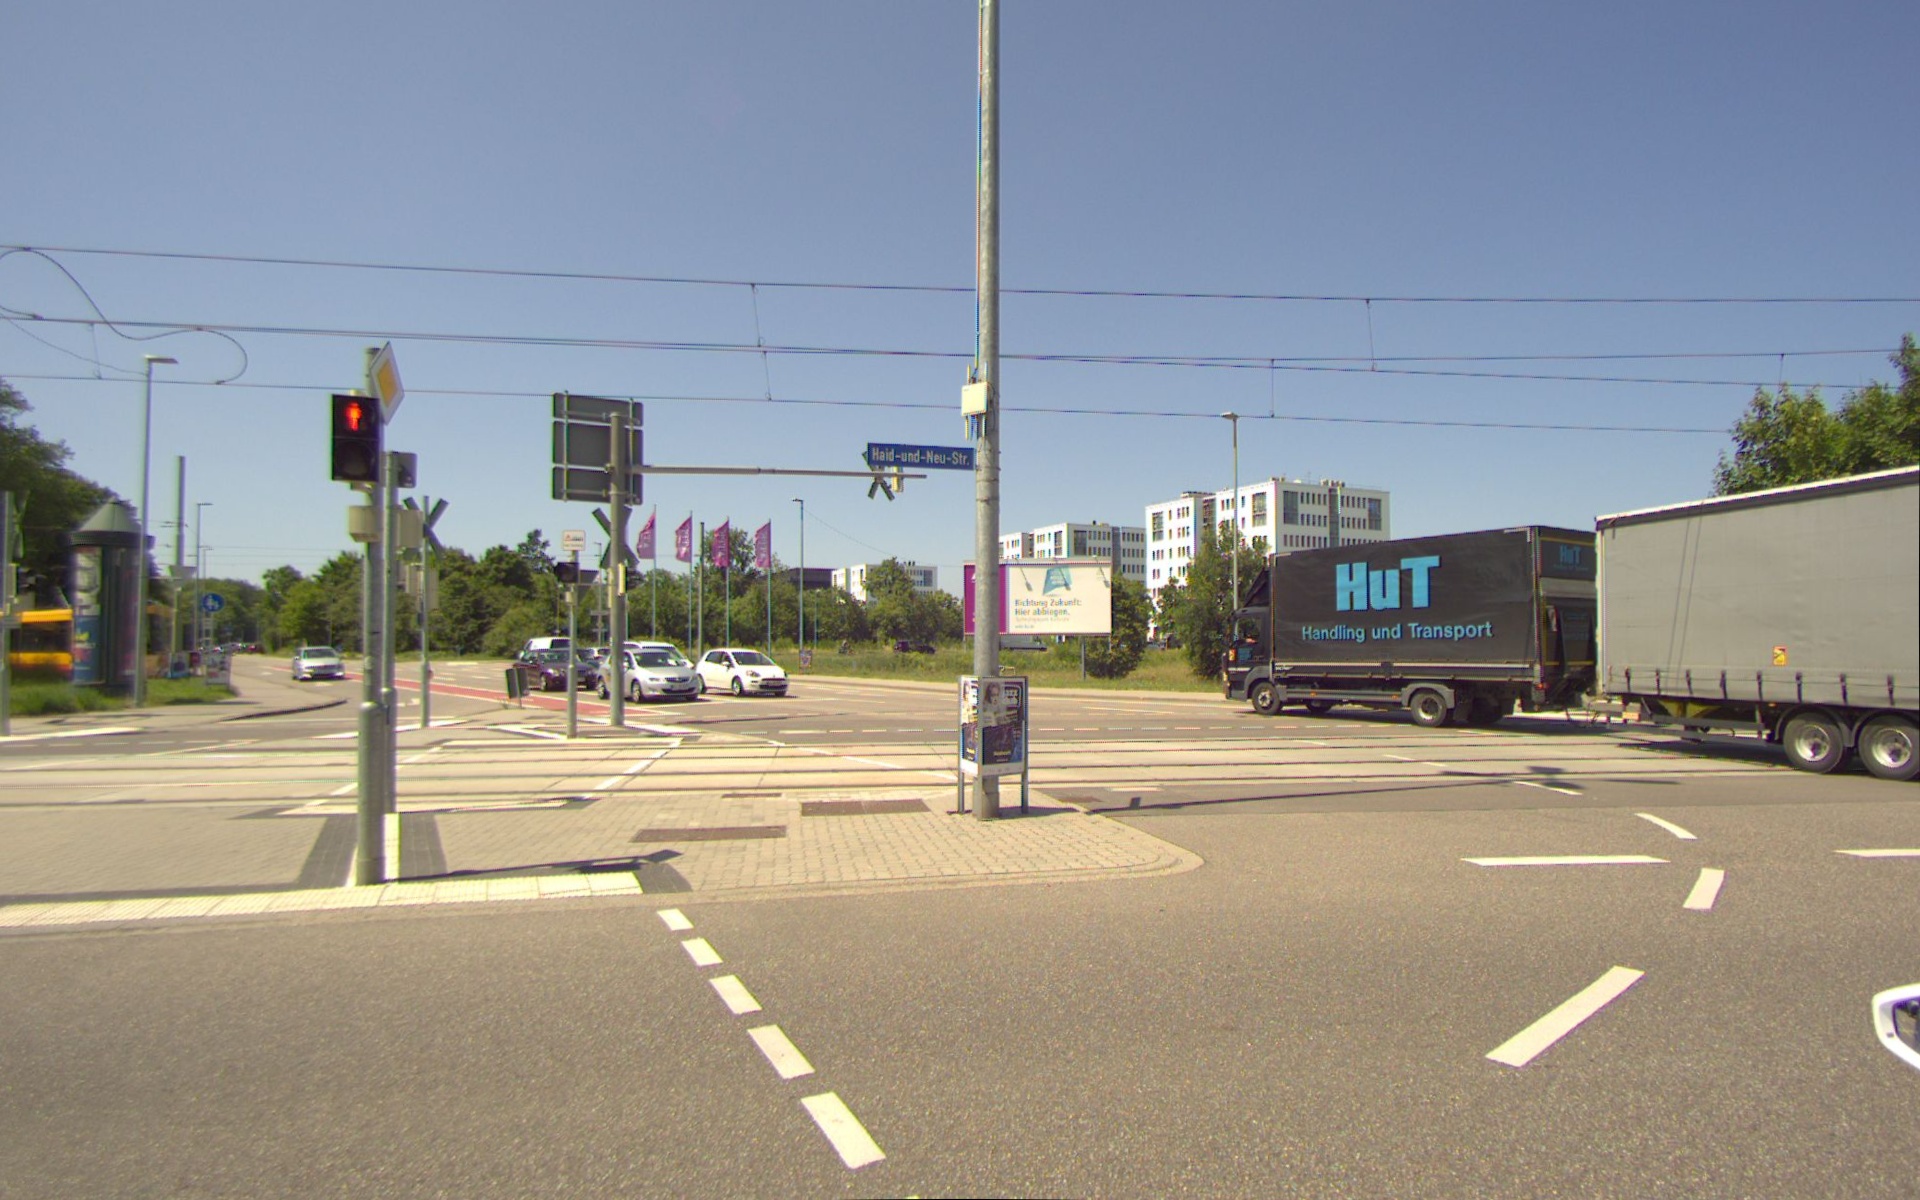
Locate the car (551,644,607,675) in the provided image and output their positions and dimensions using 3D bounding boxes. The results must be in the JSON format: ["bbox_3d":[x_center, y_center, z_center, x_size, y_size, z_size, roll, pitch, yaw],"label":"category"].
[{"bbox_3d":[-21.471,3.318,56.551,1.829,1.653,3.955,2,-3,-39],"label":"car"}]

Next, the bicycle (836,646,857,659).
[{"bbox_3d":[-11.109,5.094,98.312,1.945,1.196,0.608,1,0,-35],"label":"bicycle"}]

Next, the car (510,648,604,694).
[{"bbox_3d":[-14.207,2.451,35.329,1.752,1.476,4.234,2,-3,-42],"label":"car"}]

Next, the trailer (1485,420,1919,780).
[{"bbox_3d":[12.135,0.128,14.263,3.031,4.122,9.797,0,-3,-8],"label":"trailer"}]

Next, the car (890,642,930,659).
[{"bbox_3d":[-4.960,5.041,100.225,3.593,1.553,1.689,4,-4,-36],"label":"car"}]

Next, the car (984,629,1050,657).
[{"bbox_3d":[6.098,4.666,107.603,6.776,2.838,2.647,2,-4,-31],"label":"car"}]

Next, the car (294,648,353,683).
[{"bbox_3d":[-30.433,3.102,47.979,1.733,1.566,4.207,1,-3,-41],"label":"car"}]

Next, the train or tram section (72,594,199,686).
[{"bbox_3d":[-38.863,1.821,47.107,12.812,3.809,3.009,-2,-2,43],"label":"train or tram section"}]

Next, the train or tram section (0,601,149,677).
[{"bbox_3d":[-48.402,2.062,52.906,11.385,3.809,3.027,-1,-1,17],"label":"train or tram section"}]

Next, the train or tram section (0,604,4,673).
[{"bbox_3d":[-60.137,2.188,53.679,13.792,3.809,3.022,-1,-1,-9],"label":"train or tram section"}]

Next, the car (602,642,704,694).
[{"bbox_3d":[-11.347,2.436,36.870,1.803,1.746,4.774,3,-3,-41],"label":"car"}]

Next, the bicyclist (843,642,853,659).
[{"bbox_3d":[-10.969,4.924,98.405,0.686,1.646,0.603,0,0,-35],"label":"bicyclist"}]

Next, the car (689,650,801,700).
[{"bbox_3d":[-6.893,2.347,31.942,1.761,1.456,3.913,4,-4,-42],"label":"car"}]

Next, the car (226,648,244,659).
[{"bbox_3d":[-95.211,7.026,131.905,1.614,1.475,3.460,0,-2,-41],"label":"car"}]

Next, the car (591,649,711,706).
[{"bbox_3d":[-9.004,2.163,29.031,1.782,1.475,4.362,1,-3,-40],"label":"car"}]

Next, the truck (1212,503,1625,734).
[{"bbox_3d":[9.543,0.526,22.054,3.054,4.122,7.889,2,-3,-32],"label":"truck"}]

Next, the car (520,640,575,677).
[{"bbox_3d":[-22.180,3.097,53.943,1.647,1.932,3.956,2,-3,-39],"label":"car"}]
